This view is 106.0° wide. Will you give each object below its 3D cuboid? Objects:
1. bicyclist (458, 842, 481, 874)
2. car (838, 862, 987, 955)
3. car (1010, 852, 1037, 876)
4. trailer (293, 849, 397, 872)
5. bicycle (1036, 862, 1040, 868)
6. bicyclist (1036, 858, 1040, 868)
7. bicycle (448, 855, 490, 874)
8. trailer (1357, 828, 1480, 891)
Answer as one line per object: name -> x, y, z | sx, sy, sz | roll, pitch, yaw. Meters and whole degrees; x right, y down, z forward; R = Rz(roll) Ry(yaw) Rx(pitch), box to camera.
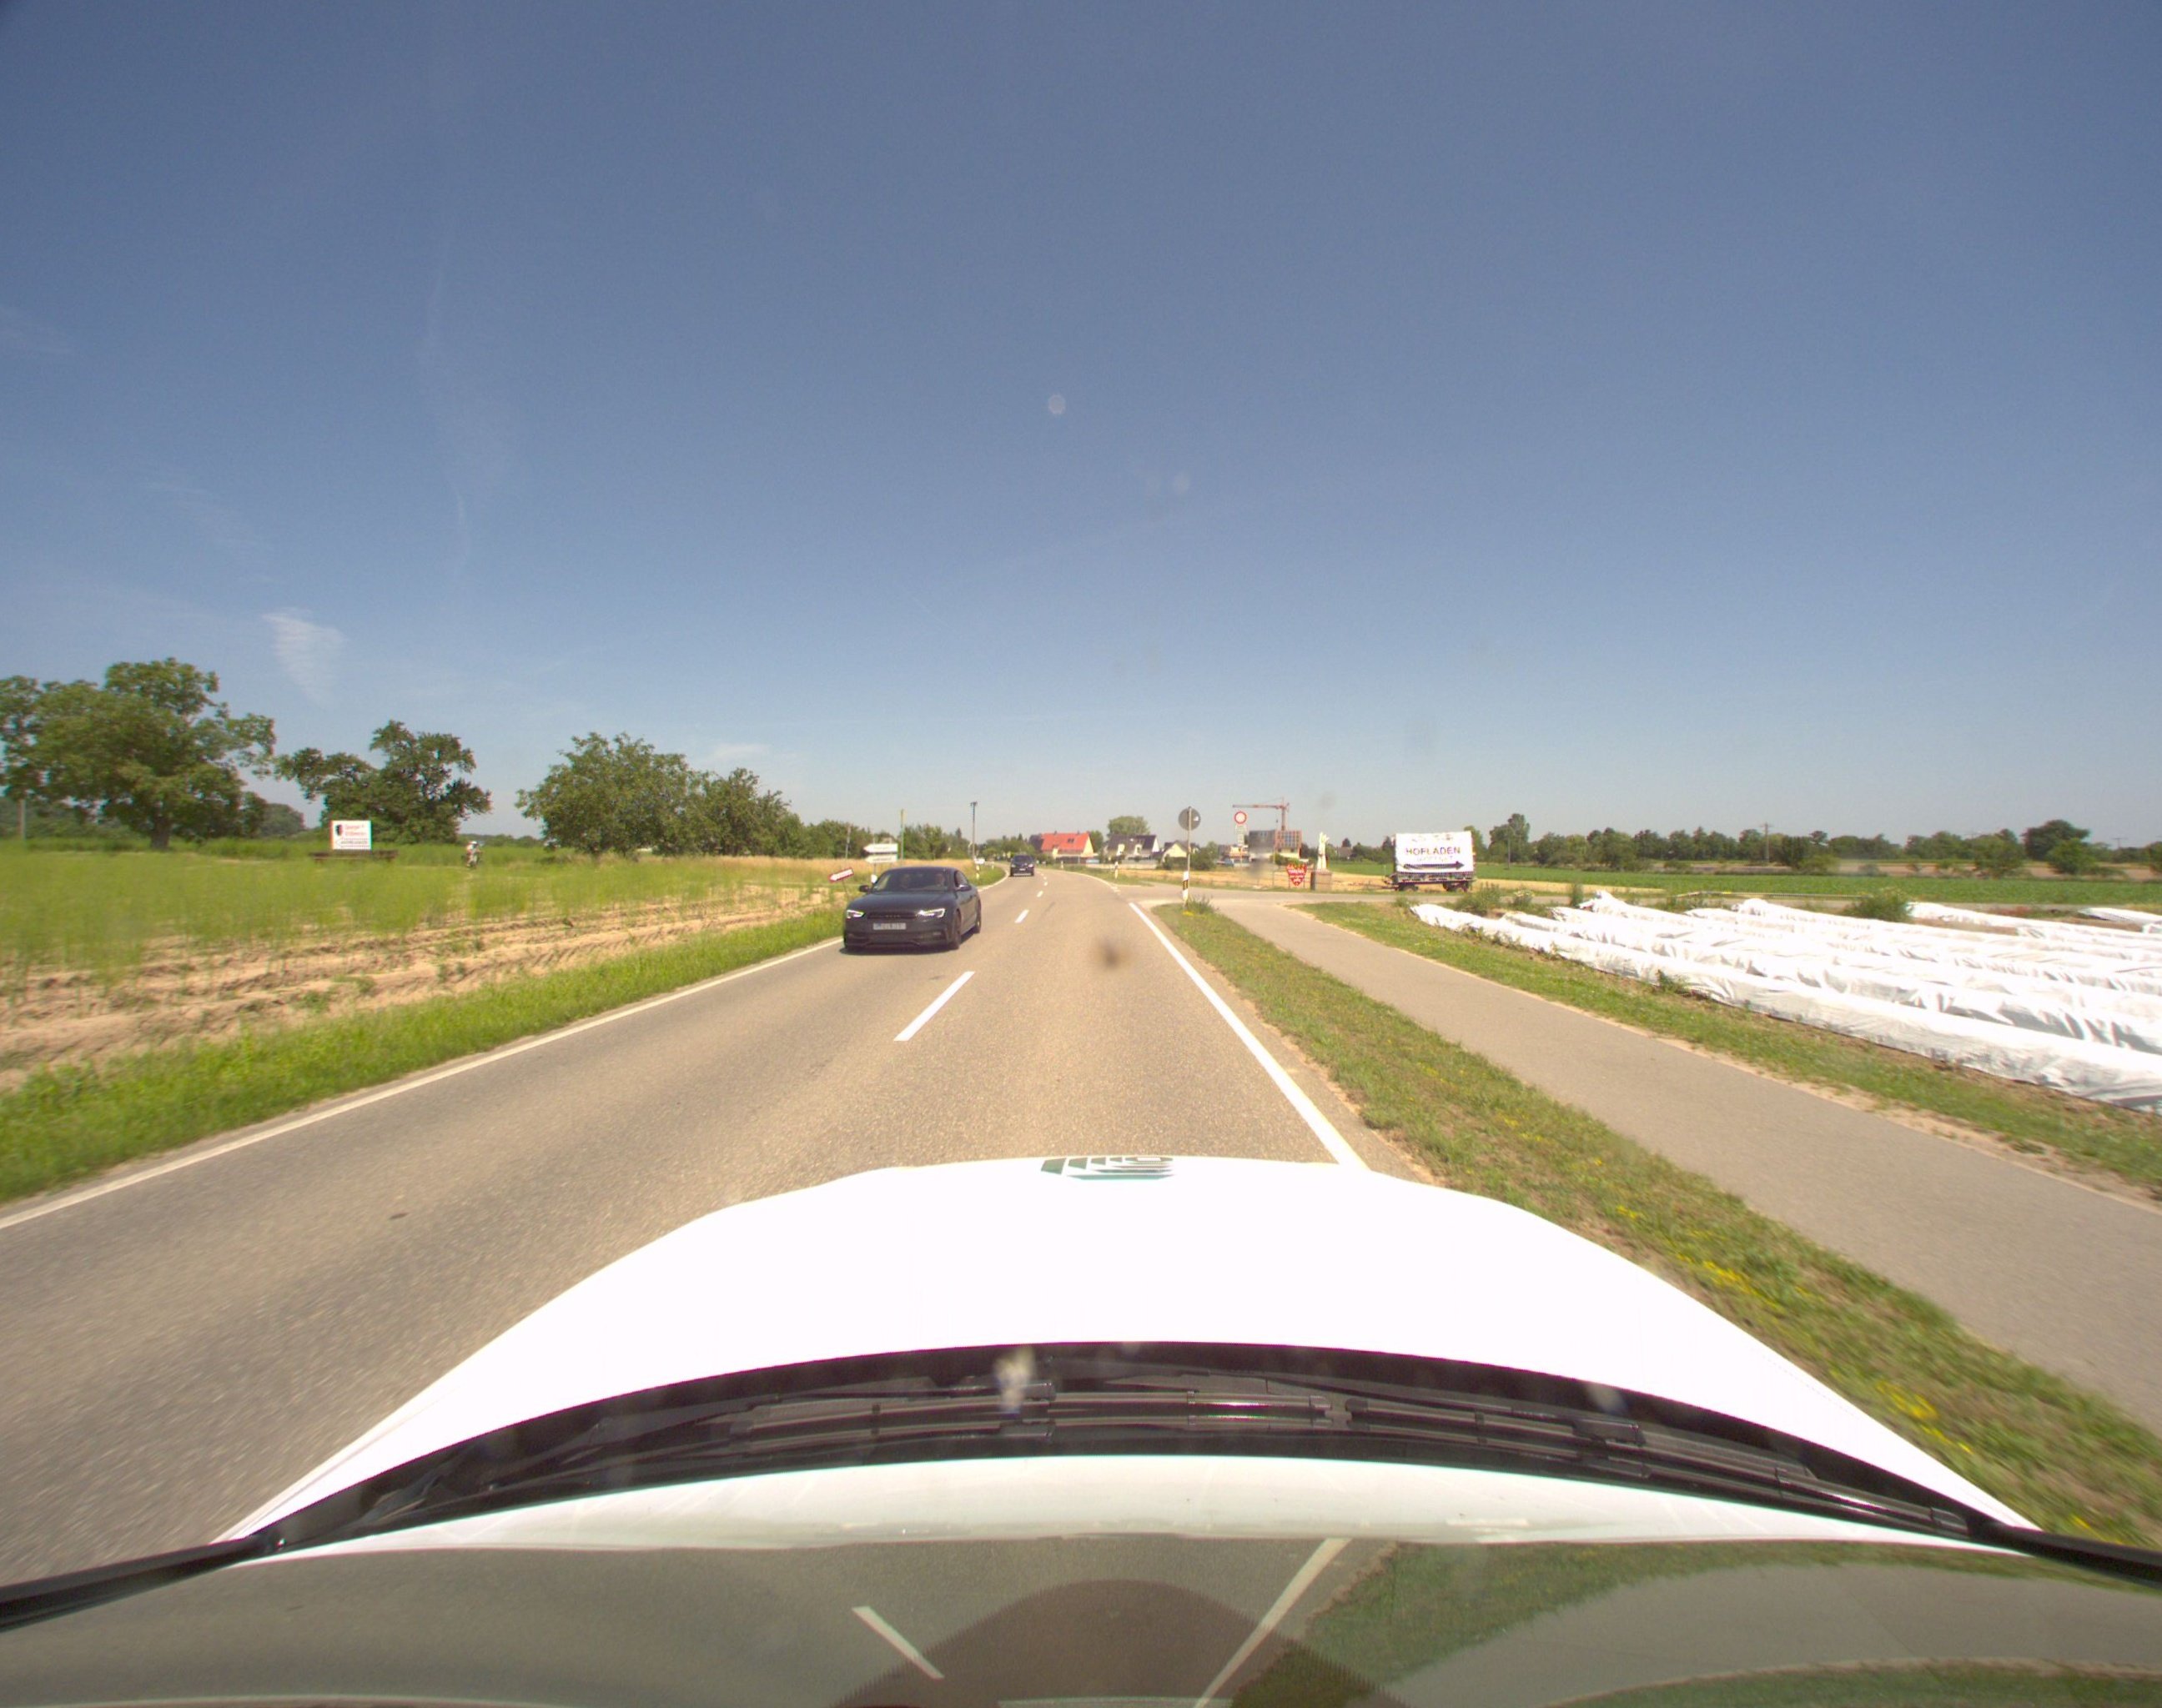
bicyclist -> -33.745, 0.206, 44.951 | 0.695, 1.758, 0.664 | 1, -1, 9
car -> -2.858, 0.864, 14.801 | 1.736, 1.357, 4.418 | -1, 0, 0
car -> -4.543, 0.792, 64.944 | 1.928, 1.751, 5.200 | -1, 0, -2
trailer -> -38.619, 0.334, 42.793 | 3.962, 1.139, 2.005 | -1, -1, 10
bicycle -> -8.782, 2.229, 165.517 | 0.610, 1.158, 2.267 | 2, 0, -9
bicyclist -> -8.734, 1.863, 165.291 | 0.645, 1.889, 0.858 | 2, 0, -9
bicycle -> -33.780, 0.592, 44.949 | 1.907, 0.992, 0.684 | 1, -1, 9
trailer -> 16.352, 0.305, 39.709 | 5.244, 2.952, 2.006 | -1, -2, 11
